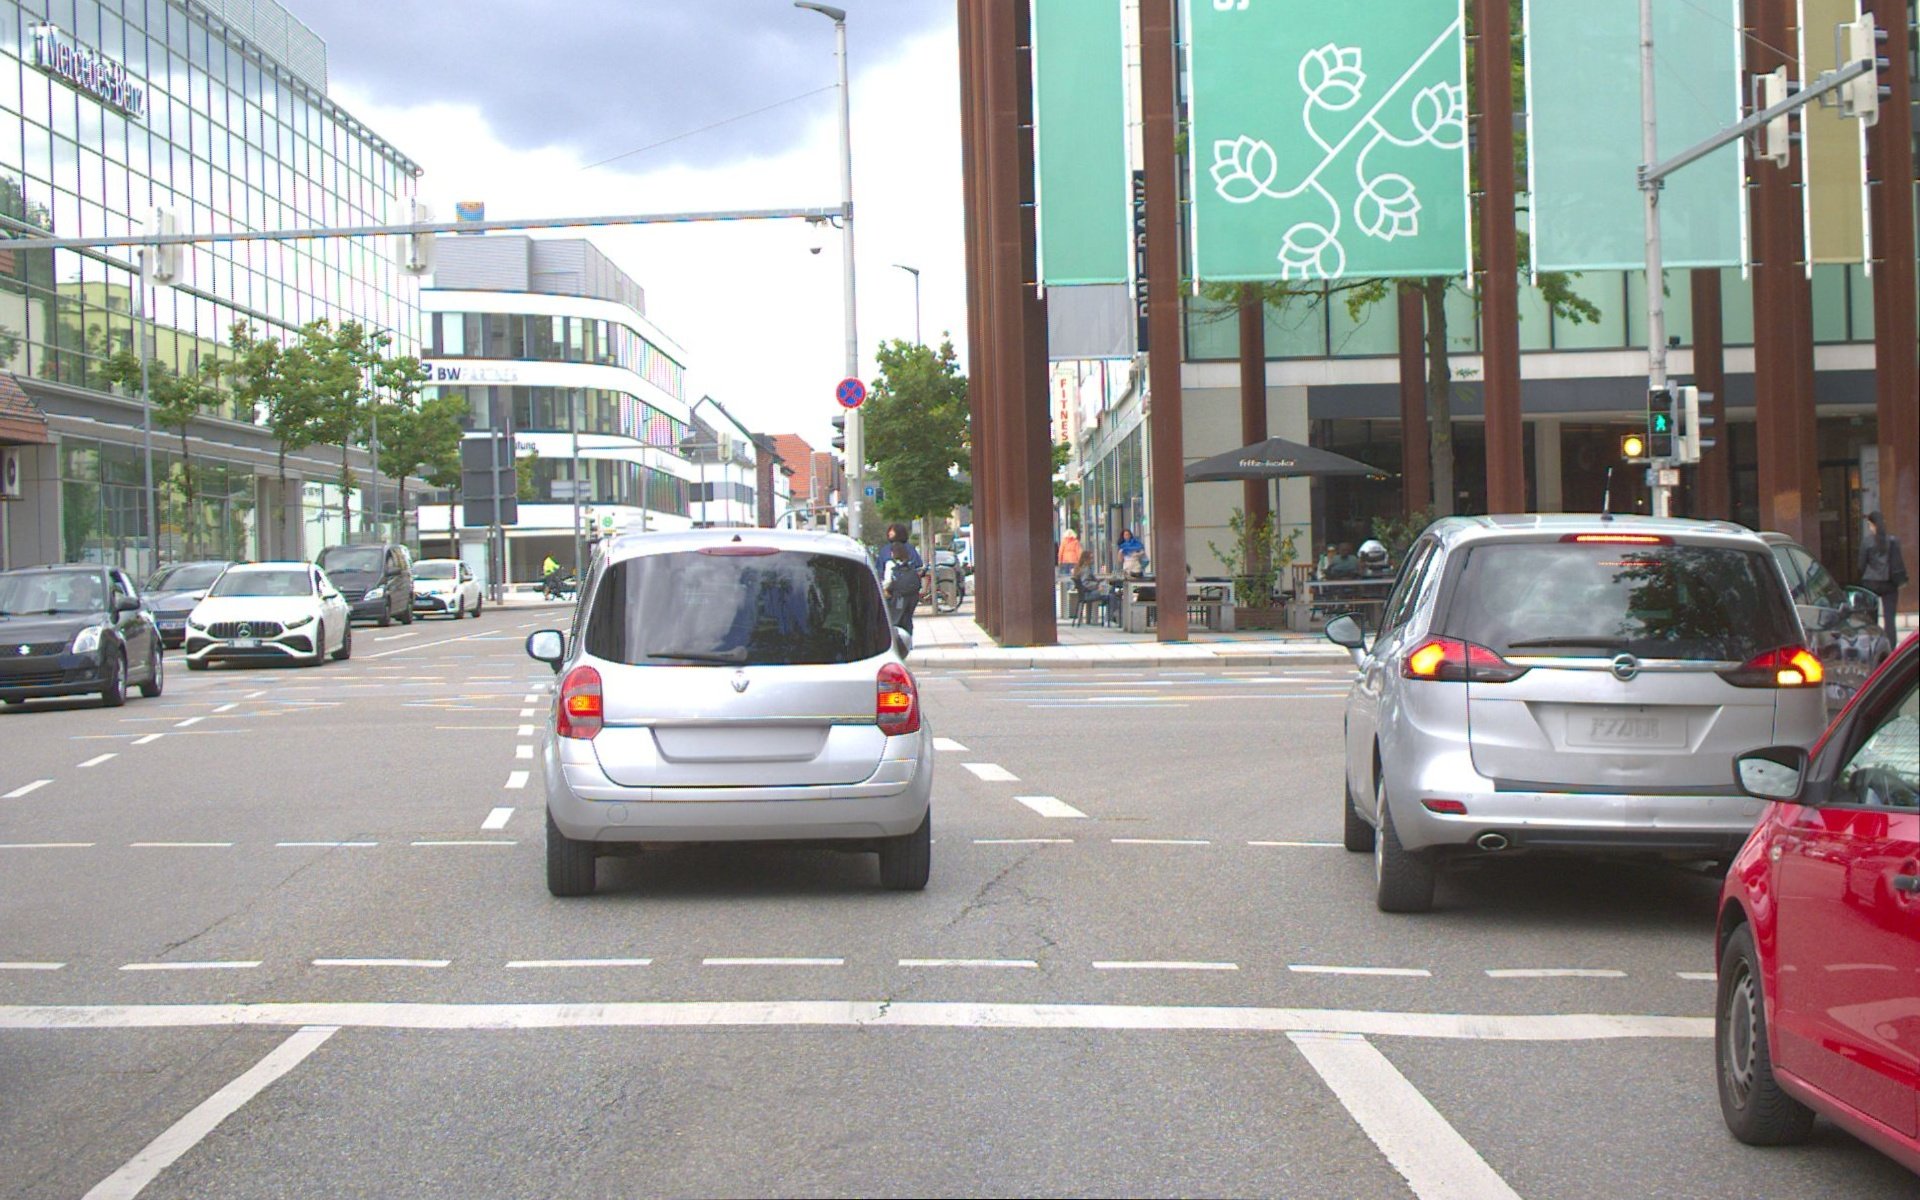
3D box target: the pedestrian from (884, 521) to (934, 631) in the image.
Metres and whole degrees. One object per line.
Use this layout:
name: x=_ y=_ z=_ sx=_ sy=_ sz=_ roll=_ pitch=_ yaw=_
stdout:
pedestrian: x=-0.667 y=-0.320 z=44.821 sx=0.601 sy=1.415 sz=0.582 roll=-1 pitch=1 yaw=2

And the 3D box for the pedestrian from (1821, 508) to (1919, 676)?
pedestrian: x=9.867 y=-0.100 z=36.916 sx=0.878 sy=1.761 sz=1.120 roll=-1 pitch=1 yaw=-3

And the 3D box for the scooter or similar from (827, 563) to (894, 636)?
scooter or similar: x=-1.315 y=-0.007 z=45.543 sx=0.634 sy=0.958 sz=0.619 roll=0 pitch=1 yaw=33

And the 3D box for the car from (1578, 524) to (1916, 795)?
car: x=5.380 y=0.299 z=23.066 sx=1.853 sy=1.603 sz=4.857 roll=1 pitch=1 yaw=17

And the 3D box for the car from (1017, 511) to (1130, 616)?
car: x=1.903 y=-0.642 z=58.741 sx=1.739 sy=1.695 sz=4.381 roll=1 pitch=1 yaw=0

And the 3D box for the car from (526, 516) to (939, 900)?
car: x=-0.948 y=0.405 z=15.882 sx=1.669 sy=1.549 sz=3.642 roll=1 pitch=1 yaw=0

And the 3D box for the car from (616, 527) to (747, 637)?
car: x=-4.091 y=-0.298 z=50.943 sx=1.669 sy=1.549 sz=3.642 roll=1 pitch=1 yaw=0

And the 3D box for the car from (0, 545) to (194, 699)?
car: x=-9.312 y=0.199 z=35.914 sx=1.744 sy=1.454 sz=3.818 roll=-2 pitch=1 yaw=0

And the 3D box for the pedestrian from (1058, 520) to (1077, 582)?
pedestrian: x=2.691 y=-1.219 z=85.999 sx=0.427 sy=1.544 sz=0.481 roll=-1 pitch=1 yaw=-2

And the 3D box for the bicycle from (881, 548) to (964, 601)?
bicycle: x=-0.740 y=-0.507 z=67.721 sx=1.561 sy=0.989 sz=0.752 roll=-1 pitch=1 yaw=3

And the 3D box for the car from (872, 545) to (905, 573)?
car: x=-3.953 y=-2.269 z=190.190 sx=1.660 sy=1.460 sz=4.000 roll=-2 pitch=1 yaw=0

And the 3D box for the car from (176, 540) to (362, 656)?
car: x=-9.560 y=-0.068 z=47.853 sx=1.744 sy=1.454 sz=4.235 roll=-2 pitch=1 yaw=-1

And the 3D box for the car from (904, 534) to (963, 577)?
car: x=-0.845 y=-1.458 z=112.001 sx=1.877 sy=1.330 sz=4.000 roll=1 pitch=1 yaw=0

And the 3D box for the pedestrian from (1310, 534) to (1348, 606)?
pedestrian: x=6.281 y=-0.518 z=58.593 sx=0.515 sy=1.204 sz=0.796 roll=-1 pitch=2 yaw=-2

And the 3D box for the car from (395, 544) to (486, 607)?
car: x=-13.082 y=-0.639 z=86.759 sx=1.660 sy=1.460 sz=4.000 roll=-2 pitch=1 yaw=0

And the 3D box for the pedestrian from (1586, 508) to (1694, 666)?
pedestrian: x=7.439 y=-0.151 z=37.657 sx=0.878 sy=1.675 sz=1.120 roll=-1 pitch=1 yaw=-3

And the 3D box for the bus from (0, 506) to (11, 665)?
bus: x=-16.534 y=-0.469 z=38.515 sx=2.993 sy=3.316 sz=12.284 roll=-3 pitch=2 yaw=33

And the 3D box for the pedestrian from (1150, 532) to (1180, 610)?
pedestrian: x=3.237 y=-0.454 z=54.181 sx=0.447 sy=1.216 sz=0.606 roll=-1 pitch=1 yaw=4

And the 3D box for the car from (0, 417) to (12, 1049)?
car: x=-3.564 y=0.418 z=7.646 sx=1.707 sy=1.814 sz=4.572 roll=1 pitch=1 yaw=-1

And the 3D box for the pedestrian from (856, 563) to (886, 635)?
pedestrian: x=-1.159 y=-0.010 z=44.803 sx=0.362 sy=0.921 sz=0.454 roll=-1 pitch=1 yaw=2

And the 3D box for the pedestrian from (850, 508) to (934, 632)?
pedestrian: x=-0.910 y=-0.404 z=46.049 sx=0.871 sy=1.641 sz=0.679 roll=0 pitch=2 yaw=34

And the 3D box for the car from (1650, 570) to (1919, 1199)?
car: x=2.727 y=0.688 z=7.580 sx=1.626 sy=1.443 sz=3.642 roll=1 pitch=1 yaw=0

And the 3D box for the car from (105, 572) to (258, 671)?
car: x=-13.768 y=0.348 z=61.023 sx=1.758 sy=1.512 sz=4.387 roll=-3 pitch=2 yaw=-2

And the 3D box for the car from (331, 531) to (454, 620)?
car: x=-12.989 y=-0.592 z=78.928 sx=1.865 sy=1.903 sz=5.114 roll=-2 pitch=1 yaw=1

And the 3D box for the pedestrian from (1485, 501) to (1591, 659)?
pedestrian: x=6.277 y=-0.224 z=37.377 sx=0.878 sy=1.675 sz=1.120 roll=-1 pitch=1 yaw=-3

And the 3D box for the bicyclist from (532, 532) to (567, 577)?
bicyclist: x=-15.114 y=-1.669 z=126.516 sx=1.006 sy=1.655 sz=0.933 roll=1 pitch=1 yaw=-28

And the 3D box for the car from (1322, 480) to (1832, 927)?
car: x=2.605 y=0.354 z=15.455 sx=1.740 sy=1.695 sz=4.380 roll=1 pitch=1 yaw=4

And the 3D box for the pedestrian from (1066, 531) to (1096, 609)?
pedestrian: x=1.911 y=-0.469 z=54.254 sx=0.447 sy=1.216 sz=0.606 roll=-1 pitch=1 yaw=2

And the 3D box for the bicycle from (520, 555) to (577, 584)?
bicycle: x=-15.150 y=-1.124 z=126.571 sx=1.006 sy=1.015 sz=3.130 roll=1 pitch=1 yaw=-28
